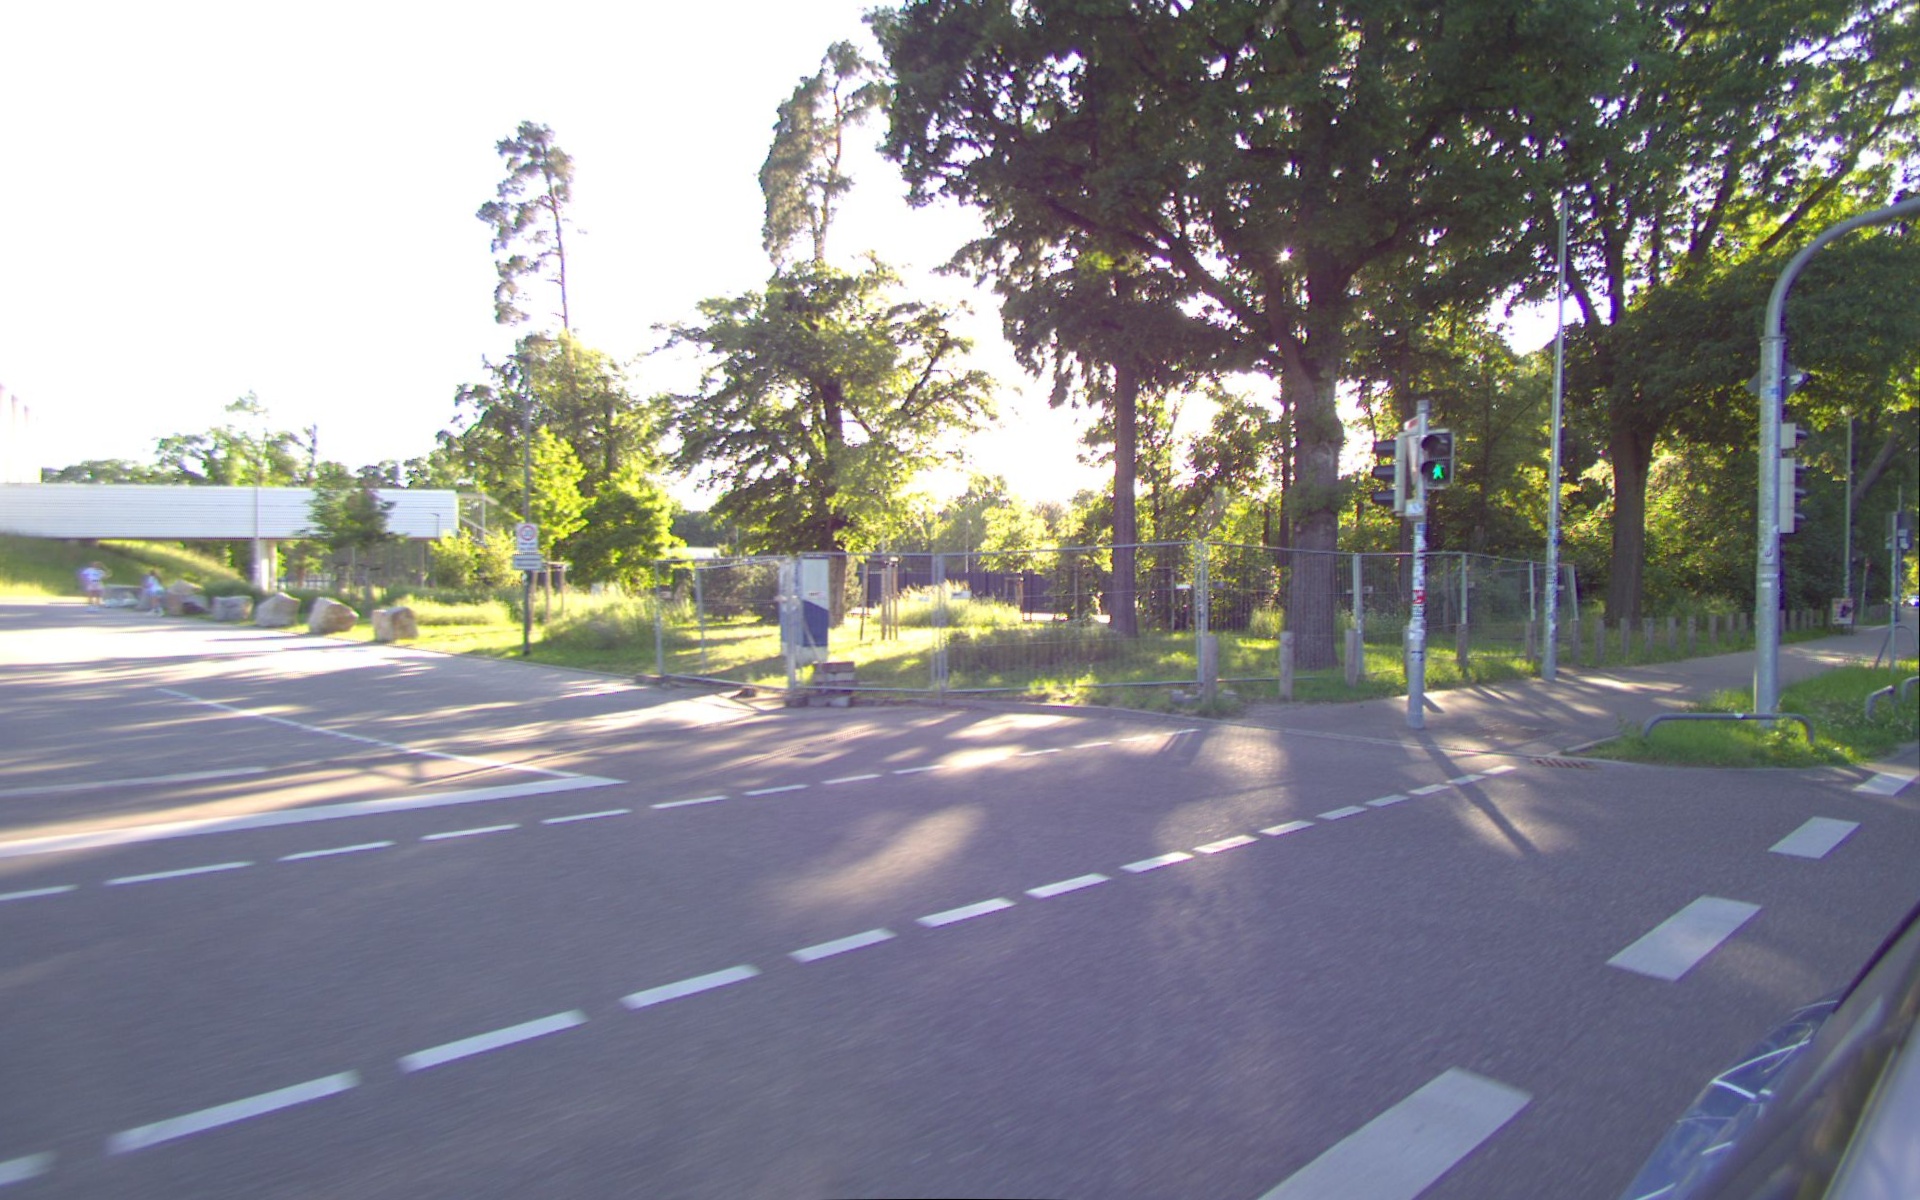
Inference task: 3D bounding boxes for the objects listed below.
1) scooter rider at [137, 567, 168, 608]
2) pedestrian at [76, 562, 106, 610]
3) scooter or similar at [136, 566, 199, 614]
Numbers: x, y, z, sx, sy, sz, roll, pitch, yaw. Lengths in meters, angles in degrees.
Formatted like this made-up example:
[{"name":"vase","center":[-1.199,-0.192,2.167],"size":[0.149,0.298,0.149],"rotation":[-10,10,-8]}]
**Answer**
[{"name":"scooter rider","center":[-26.055,-0.411,32.667],"size":[0.538,1.290,0.602],"rotation":[-2,-1,21]},{"name":"pedestrian","center":[-28.748,-0.463,33.480],"size":[0.723,1.582,0.580],"rotation":[0,-1,-45]},{"name":"scooter or similar","center":[-25.917,-0.313,33.120],"size":[0.640,1.509,1.518],"rotation":[-2,-1,20]}]
